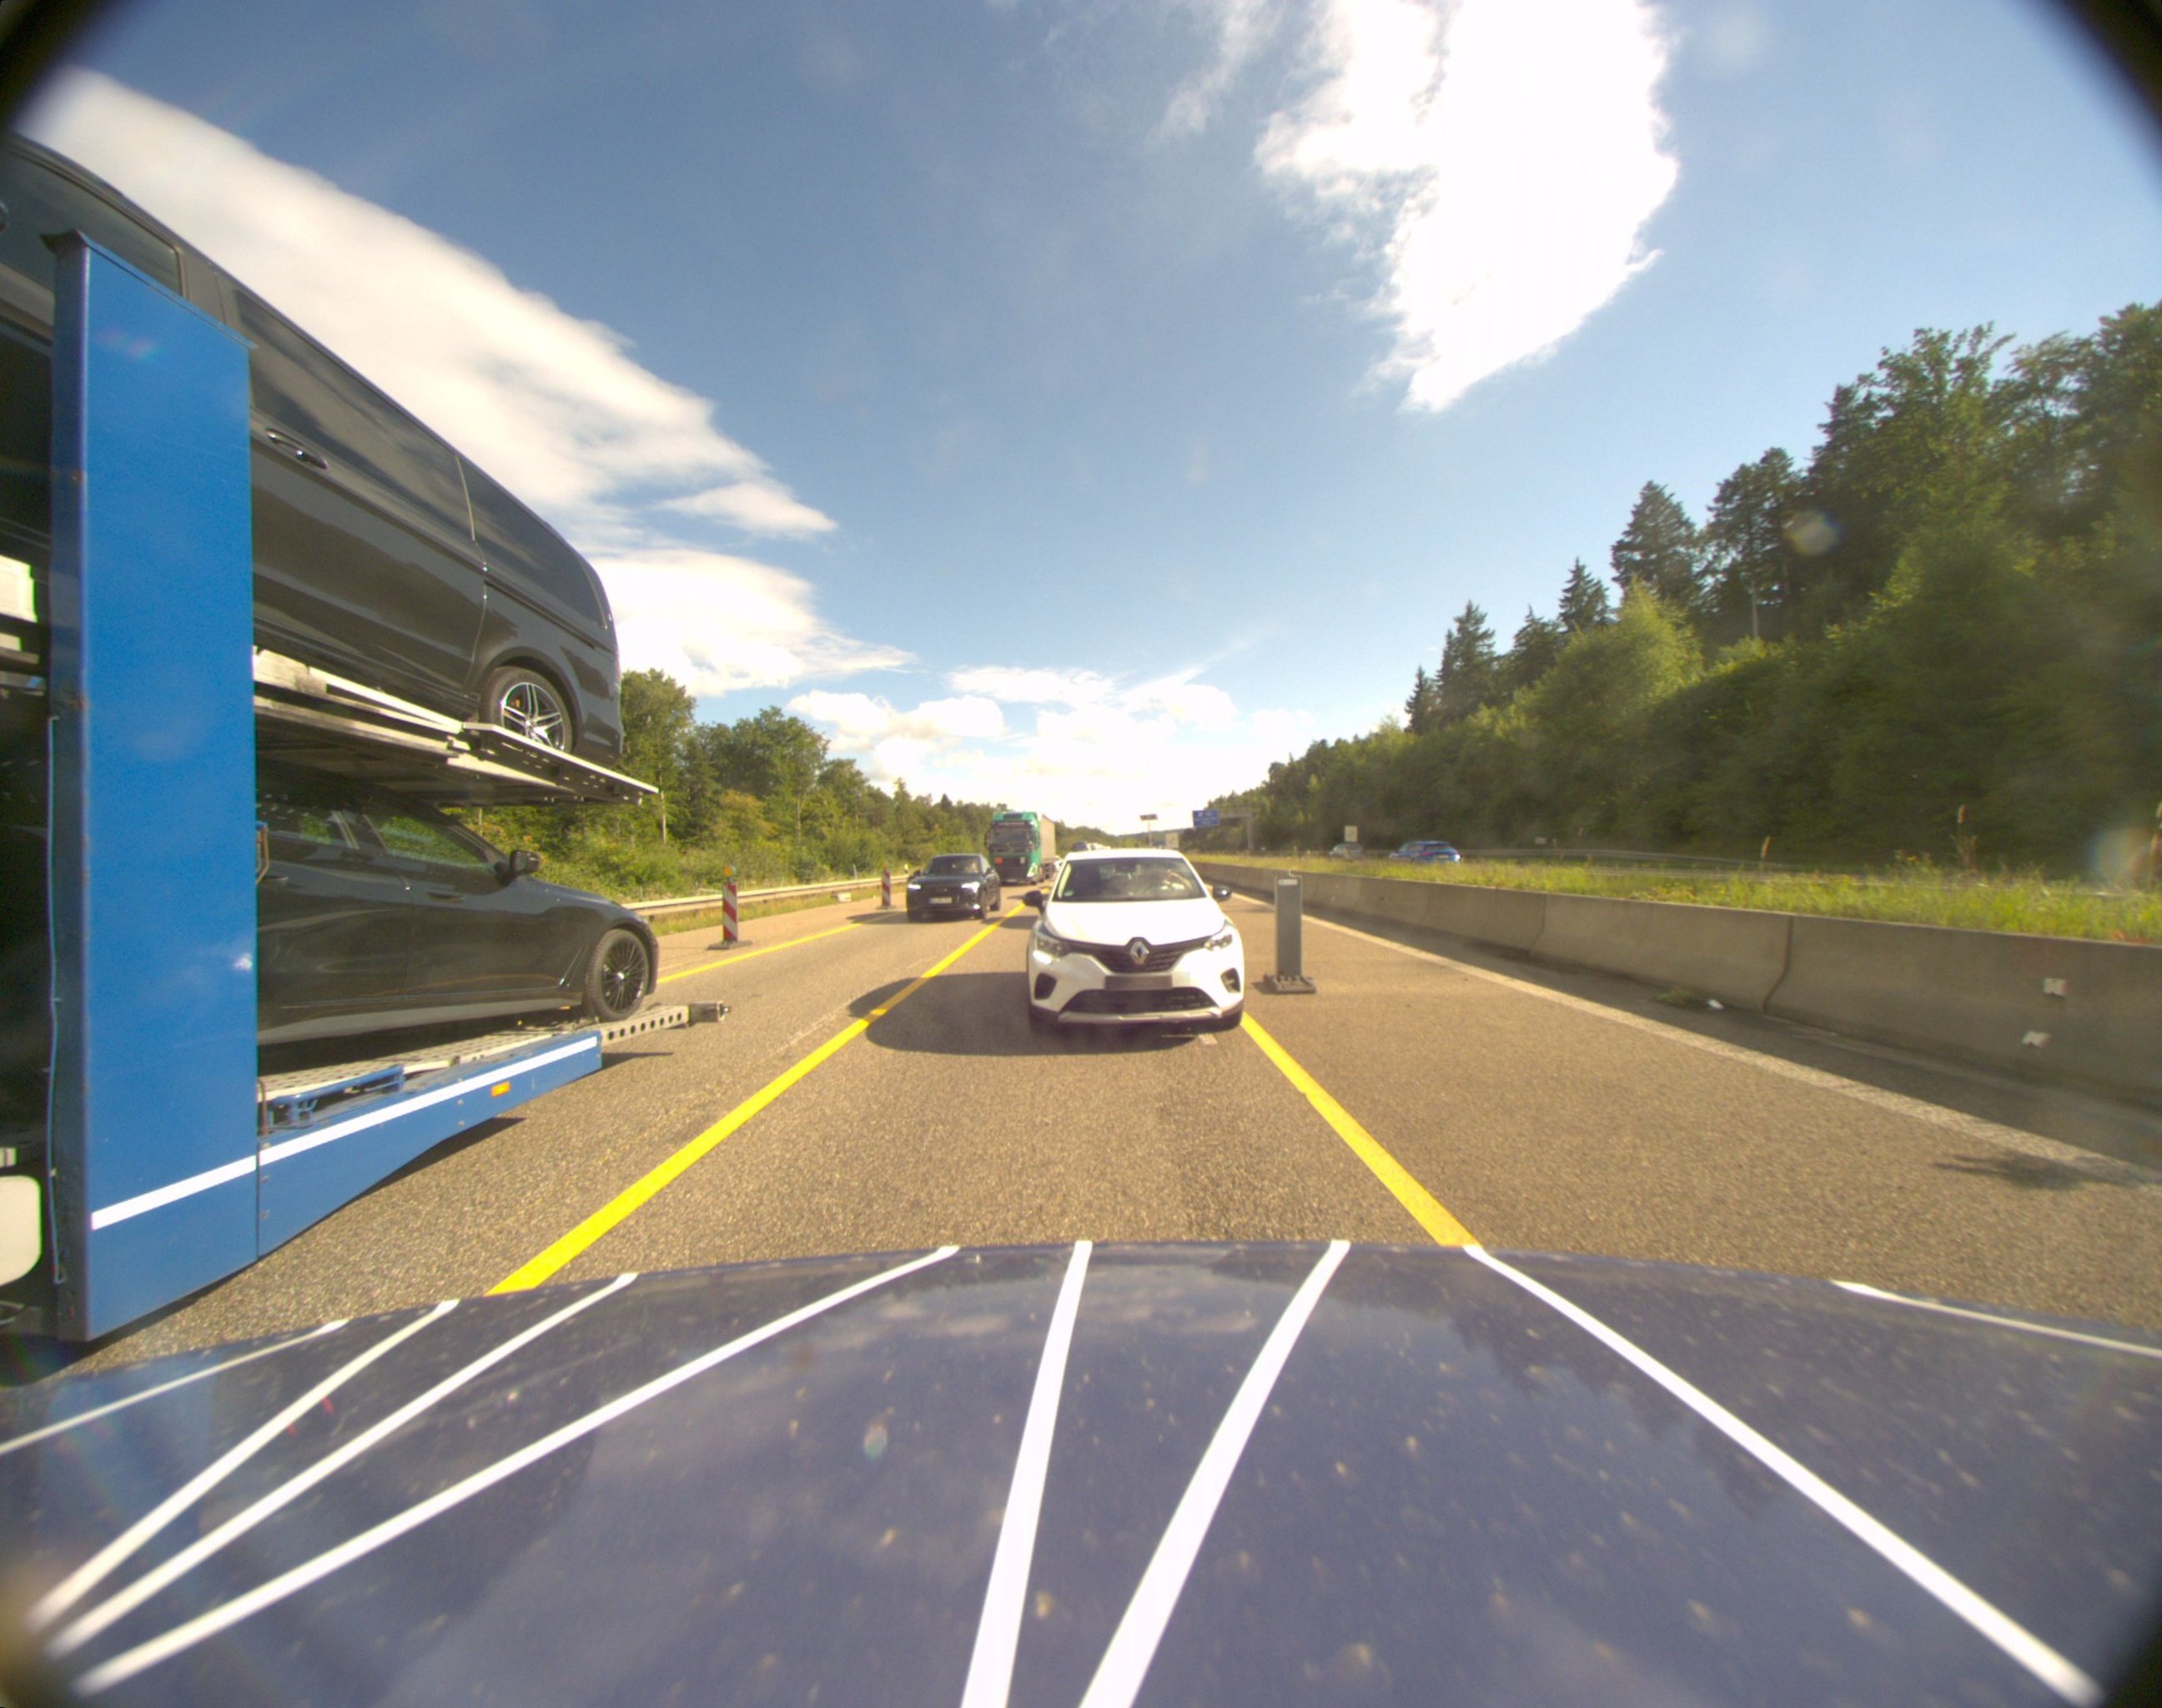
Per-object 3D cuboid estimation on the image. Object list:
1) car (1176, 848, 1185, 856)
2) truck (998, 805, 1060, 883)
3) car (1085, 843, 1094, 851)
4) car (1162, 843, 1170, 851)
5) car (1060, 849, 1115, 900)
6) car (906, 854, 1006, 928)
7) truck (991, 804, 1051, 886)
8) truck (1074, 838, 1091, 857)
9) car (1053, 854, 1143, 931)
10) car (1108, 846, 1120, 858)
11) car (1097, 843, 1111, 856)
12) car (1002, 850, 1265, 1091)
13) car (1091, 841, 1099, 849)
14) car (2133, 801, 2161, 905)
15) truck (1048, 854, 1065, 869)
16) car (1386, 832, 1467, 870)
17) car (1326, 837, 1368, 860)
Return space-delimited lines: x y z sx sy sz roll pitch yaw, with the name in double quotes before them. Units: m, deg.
"car" 28.325 -0.610 215.463 1.998 2.002 3.999 -2 1 1
"truck" -3.003 -0.617 47.925 2.470 4.119 14.209 -2 1 1
"car" 1.836 -1.545 164.832 1.750 1.787 3.999 -2 1 0
"car" 24.094 -1.975 215.400 1.998 2.002 3.999 -2 1 1
"car" 0.254 0.679 27.510 1.782 1.593 4.017 -2 1 1
"car" -3.114 0.873 19.814 1.782 1.593 4.293 -2 1 1
"truck" -3.159 -0.494 41.679 2.528 4.076 6.855 -2 1 0
"truck" 0.356 -1.180 133.609 2.576 3.168 6.802 -2 1 3
"car" 0.375 0.785 17.582 1.782 1.468 4.017 -2 1 1
"car" 5.935 -0.419 135.680 1.998 2.002 4.000 -2 1 3
"car" 3.642 -0.715 119.494 1.998 2.002 3.999 -2 1 1
"car" 0.395 0.815 7.349 1.782 1.593 4.017 -2 1 1
"car" 3.341 -2.284 186.051 1.750 1.787 3.999 -2 1 0
"car" 18.277 -0.024 10.253 1.782 1.679 4.617 -2 1 1
"truck" -2.272 0.681 70.264 1.468 1.215 3.087 -2 1 -2
"car" 15.816 -0.158 35.082 1.782 1.593 4.311 -2 1 1
"car" 19.770 -0.428 56.627 1.782 1.593 4.017 -2 1 1
